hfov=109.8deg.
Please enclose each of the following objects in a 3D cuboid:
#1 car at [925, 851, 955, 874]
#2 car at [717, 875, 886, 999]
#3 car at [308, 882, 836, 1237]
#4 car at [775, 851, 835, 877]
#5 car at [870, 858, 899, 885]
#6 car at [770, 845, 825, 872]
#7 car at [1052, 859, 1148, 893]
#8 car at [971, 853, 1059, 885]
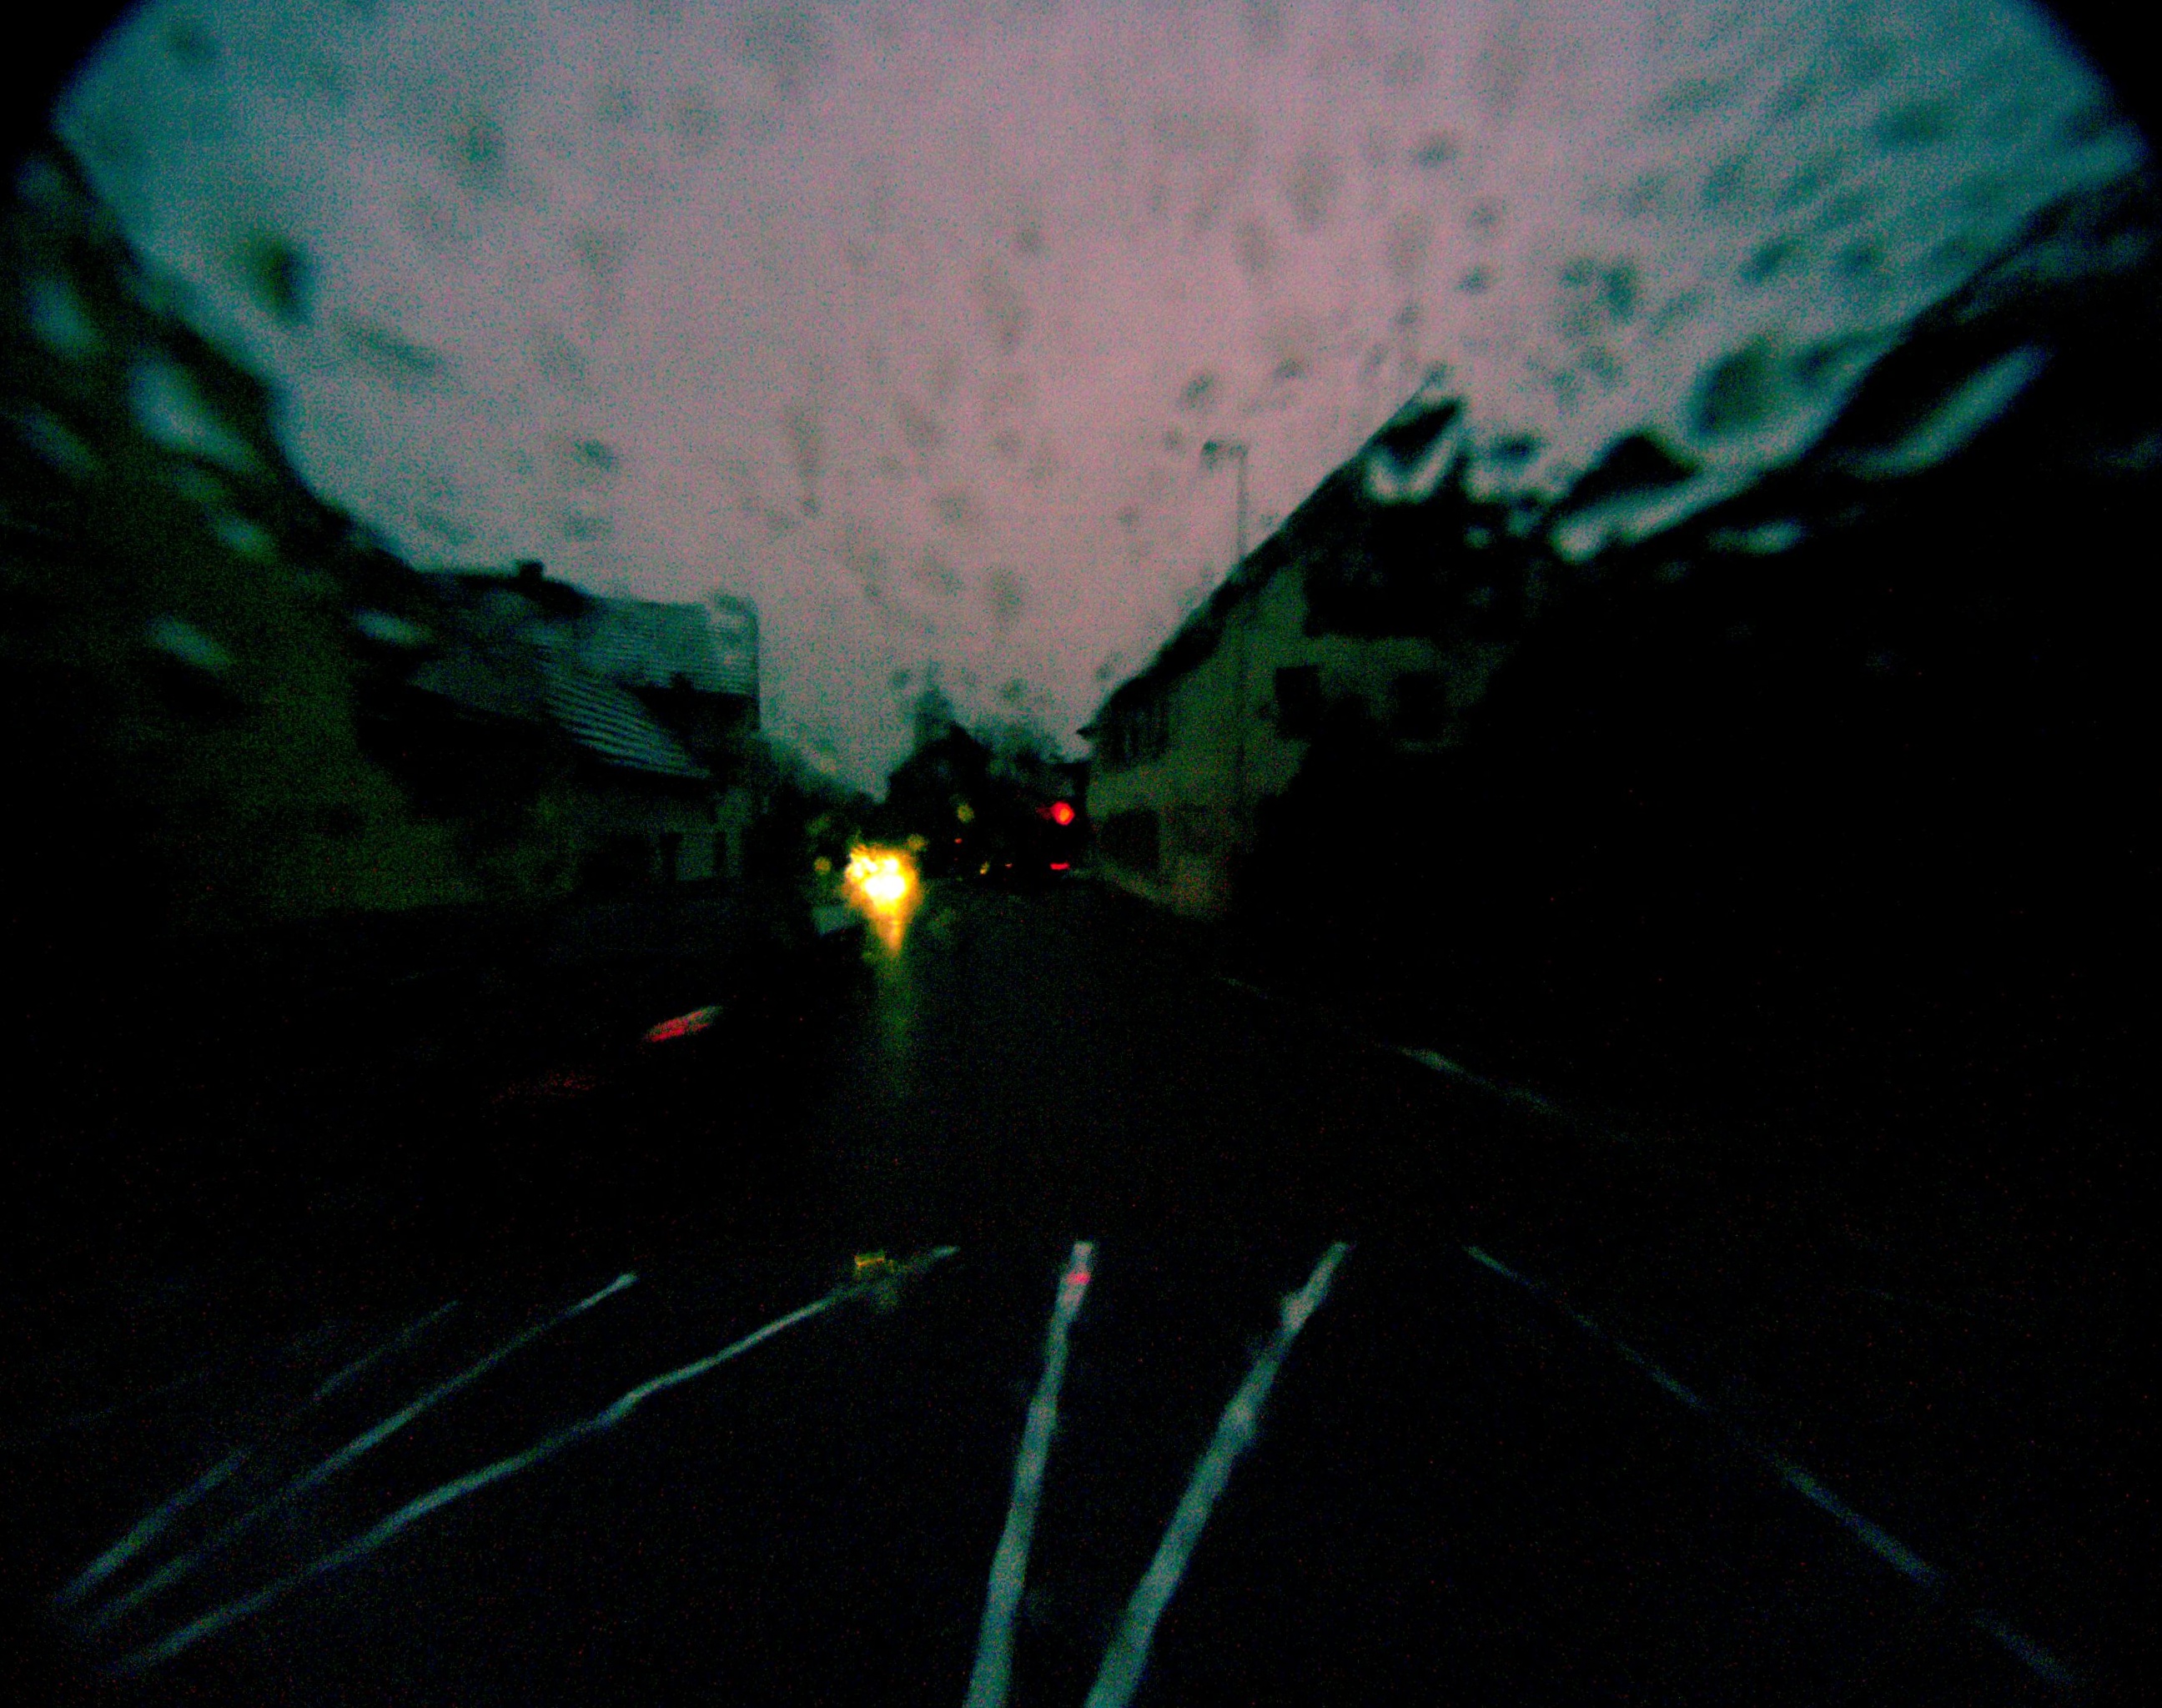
[{"bbox_3d":[-10.906,0.618,58.722,2.001,1.619,3.994,-2,1,-14],"label":"car"},{"bbox_3d":[-4.363,1.182,12.611,1.796,1.431,4.618,-2,1,-10],"label":"car"},{"bbox_3d":[-3.215,1.070,6.116,1.732,1.423,4.793,-2,1,-11],"label":"car"},{"bbox_3d":[-20.333,0.700,55.981,4.004,1.783,1.996,-2,1,-22],"label":"car"},{"bbox_3d":[-15.776,1.386,60.888,2.001,2.002,3.993,-2,1,-18],"label":"car"},{"bbox_3d":[-22.735,0.315,60.952,4.004,2.002,1.996,-2,1,-22],"label":"car"},{"bbox_3d":[0.806,0.973,34.957,2.004,1.417,4.225,-2,1,-43],"label":"car"},{"bbox_3d":[-3.693,0.808,42.228,4.485,1.570,1.996,-2,1,-20],"label":"car"}]
